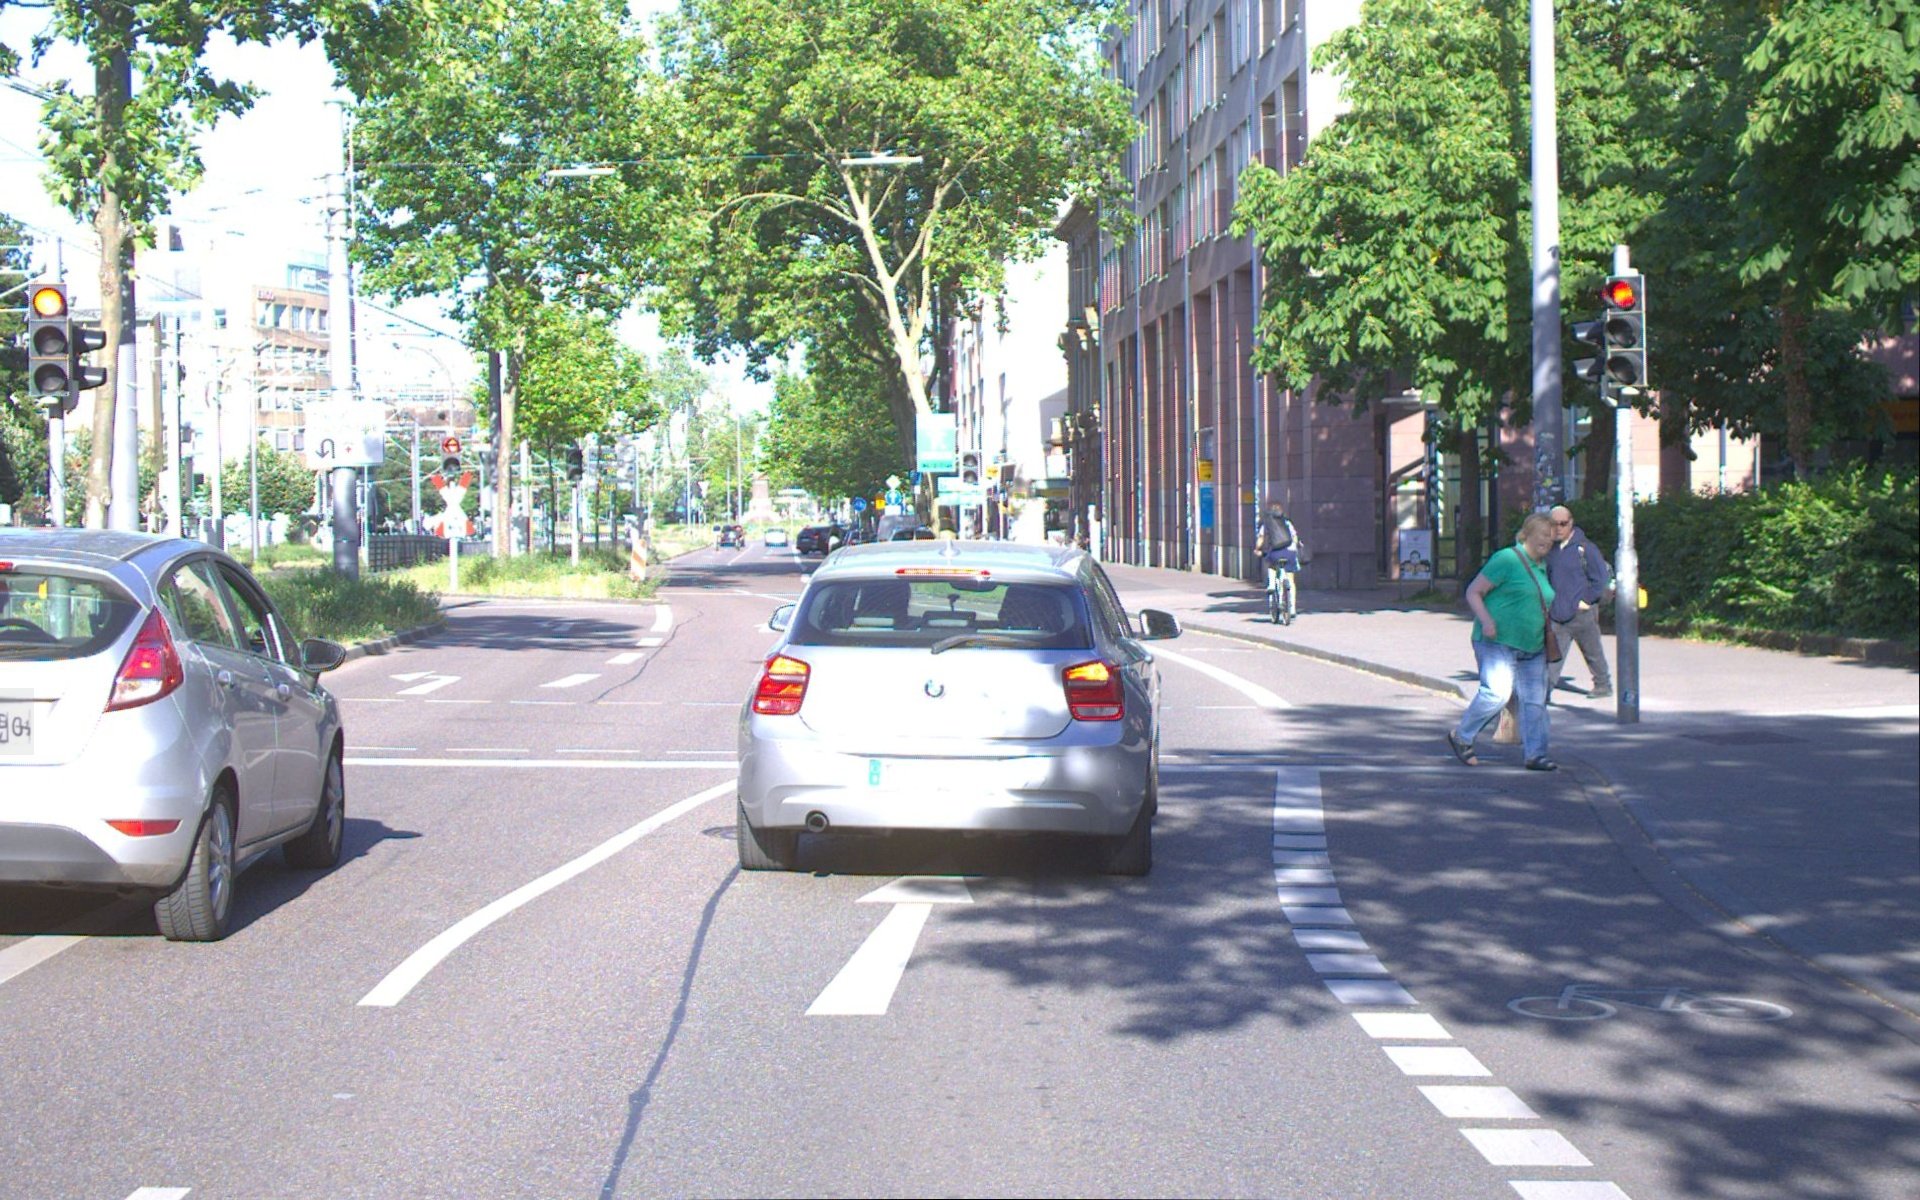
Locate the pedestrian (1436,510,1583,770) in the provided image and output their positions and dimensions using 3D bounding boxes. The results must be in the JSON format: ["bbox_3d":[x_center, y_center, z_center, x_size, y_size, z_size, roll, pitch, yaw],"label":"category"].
[{"bbox_3d":[3.380,0.233,21.208,0.829,1.570,0.739,0,1,4],"label":"pedestrian"}]

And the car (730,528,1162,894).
[{"bbox_3d":[0.019,0.406,15.817,1.730,1.385,3.840,1,2,2],"label":"car"}]

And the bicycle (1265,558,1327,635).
[{"bbox_3d":[4.832,-0.057,49.377,0.832,1.038,1.874,-1,1,7],"label":"bicycle"}]

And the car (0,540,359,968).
[{"bbox_3d":[-3.444,0.478,13.188,1.660,1.404,3.632,1,1,-1],"label":"car"}]

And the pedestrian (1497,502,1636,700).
[{"bbox_3d":[5.052,0.000,28.646,0.940,1.623,0.629,0,1,-24],"label":"pedestrian"}]

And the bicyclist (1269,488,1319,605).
[{"bbox_3d":[4.800,-0.771,49.396,0.658,1.651,0.765,-1,1,7],"label":"bicyclist"}]
